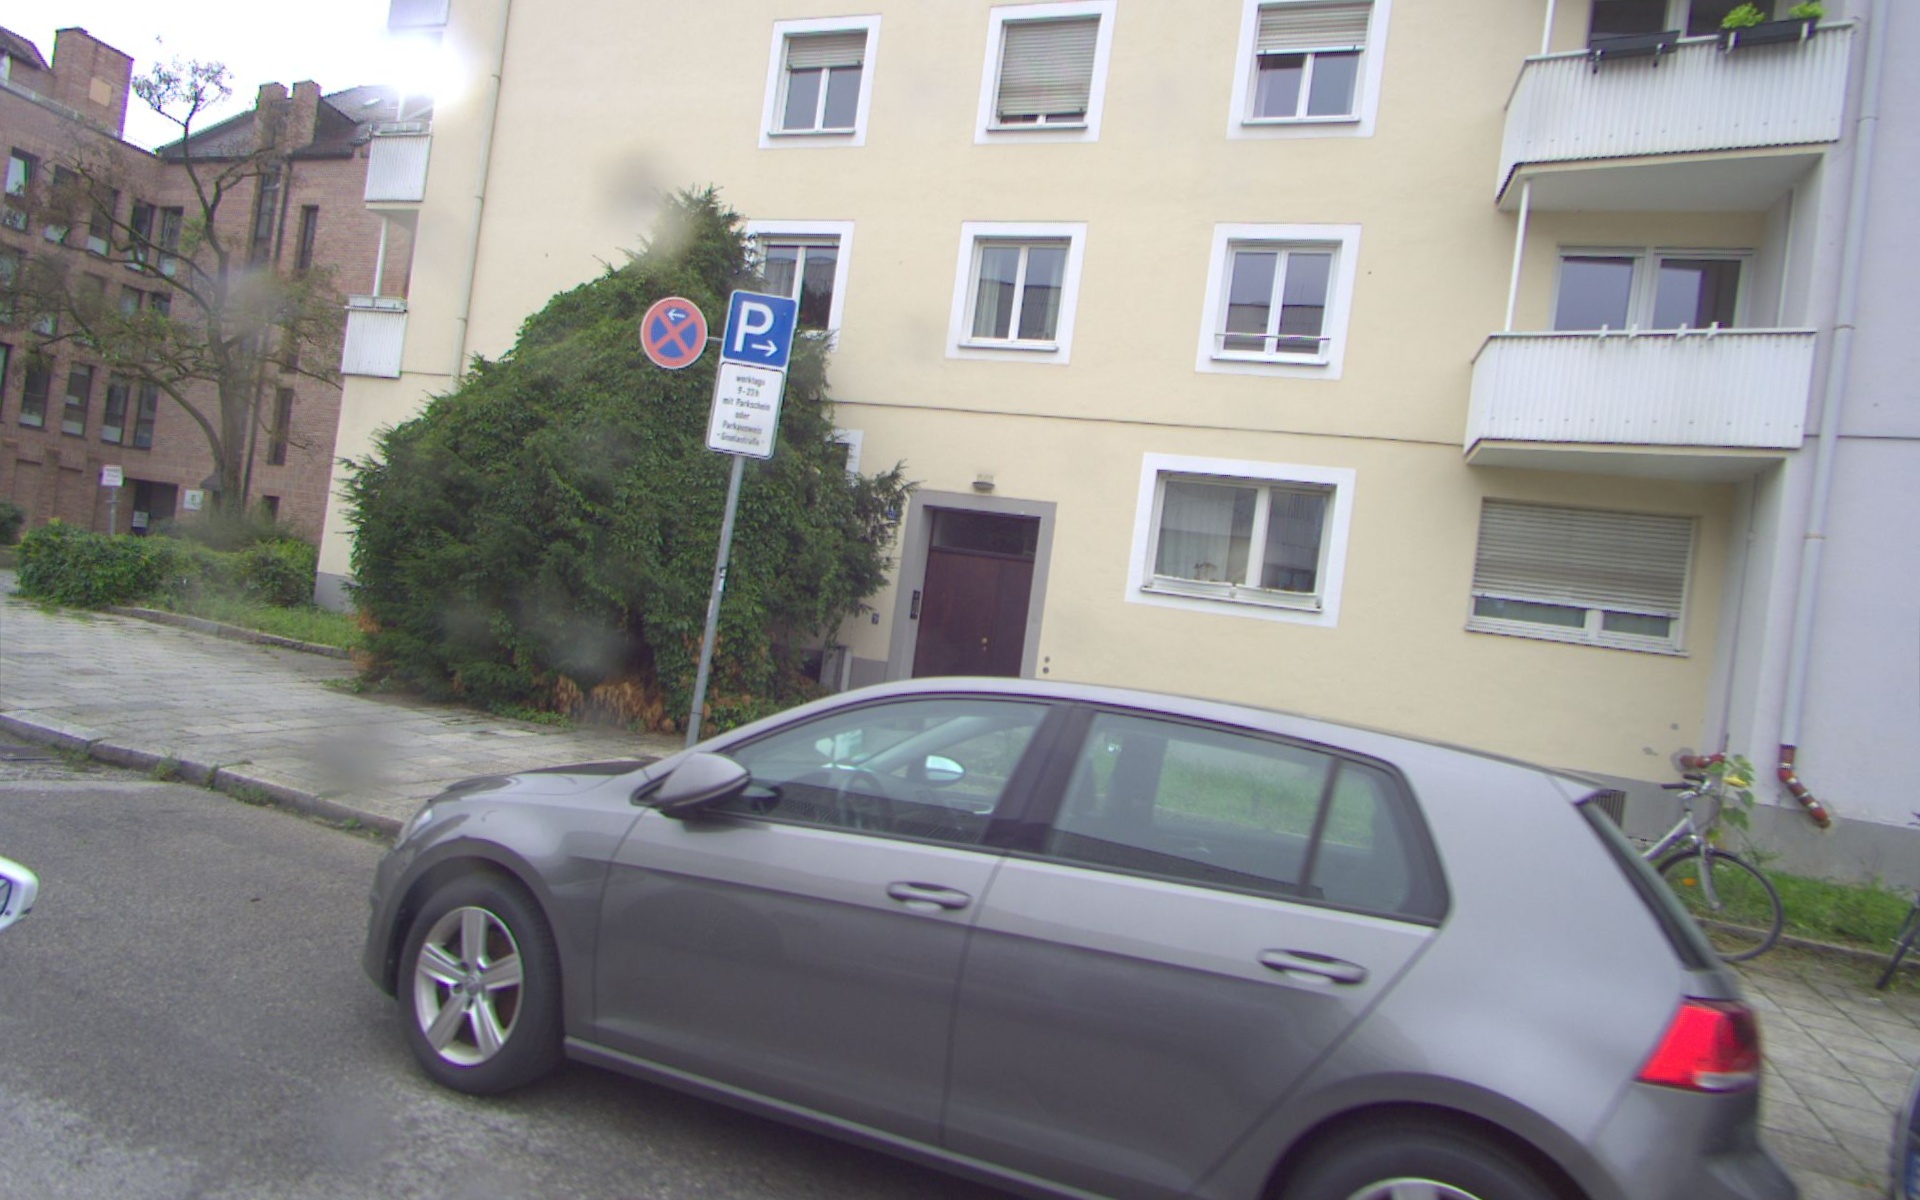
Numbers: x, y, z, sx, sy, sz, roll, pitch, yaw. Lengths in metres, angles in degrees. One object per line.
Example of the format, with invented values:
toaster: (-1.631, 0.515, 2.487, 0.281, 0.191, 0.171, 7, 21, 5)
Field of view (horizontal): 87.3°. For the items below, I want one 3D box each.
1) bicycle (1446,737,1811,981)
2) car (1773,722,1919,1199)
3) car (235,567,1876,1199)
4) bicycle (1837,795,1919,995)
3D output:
bicycle: (4.481, 1.675, 6.883, 1.915, 1.131, 0.467, 8, 1, 39)
car: (4.187, 1.312, 1.343, 4.433, 1.582, 1.665, 7, -3, 25)
car: (-0.026, 0.906, 3.272, 3.970, 1.411, 1.762, 7, -3, 21)
bicycle: (6.665, 1.958, 6.062, 1.910, 1.131, 0.468, 8, 1, 27)
